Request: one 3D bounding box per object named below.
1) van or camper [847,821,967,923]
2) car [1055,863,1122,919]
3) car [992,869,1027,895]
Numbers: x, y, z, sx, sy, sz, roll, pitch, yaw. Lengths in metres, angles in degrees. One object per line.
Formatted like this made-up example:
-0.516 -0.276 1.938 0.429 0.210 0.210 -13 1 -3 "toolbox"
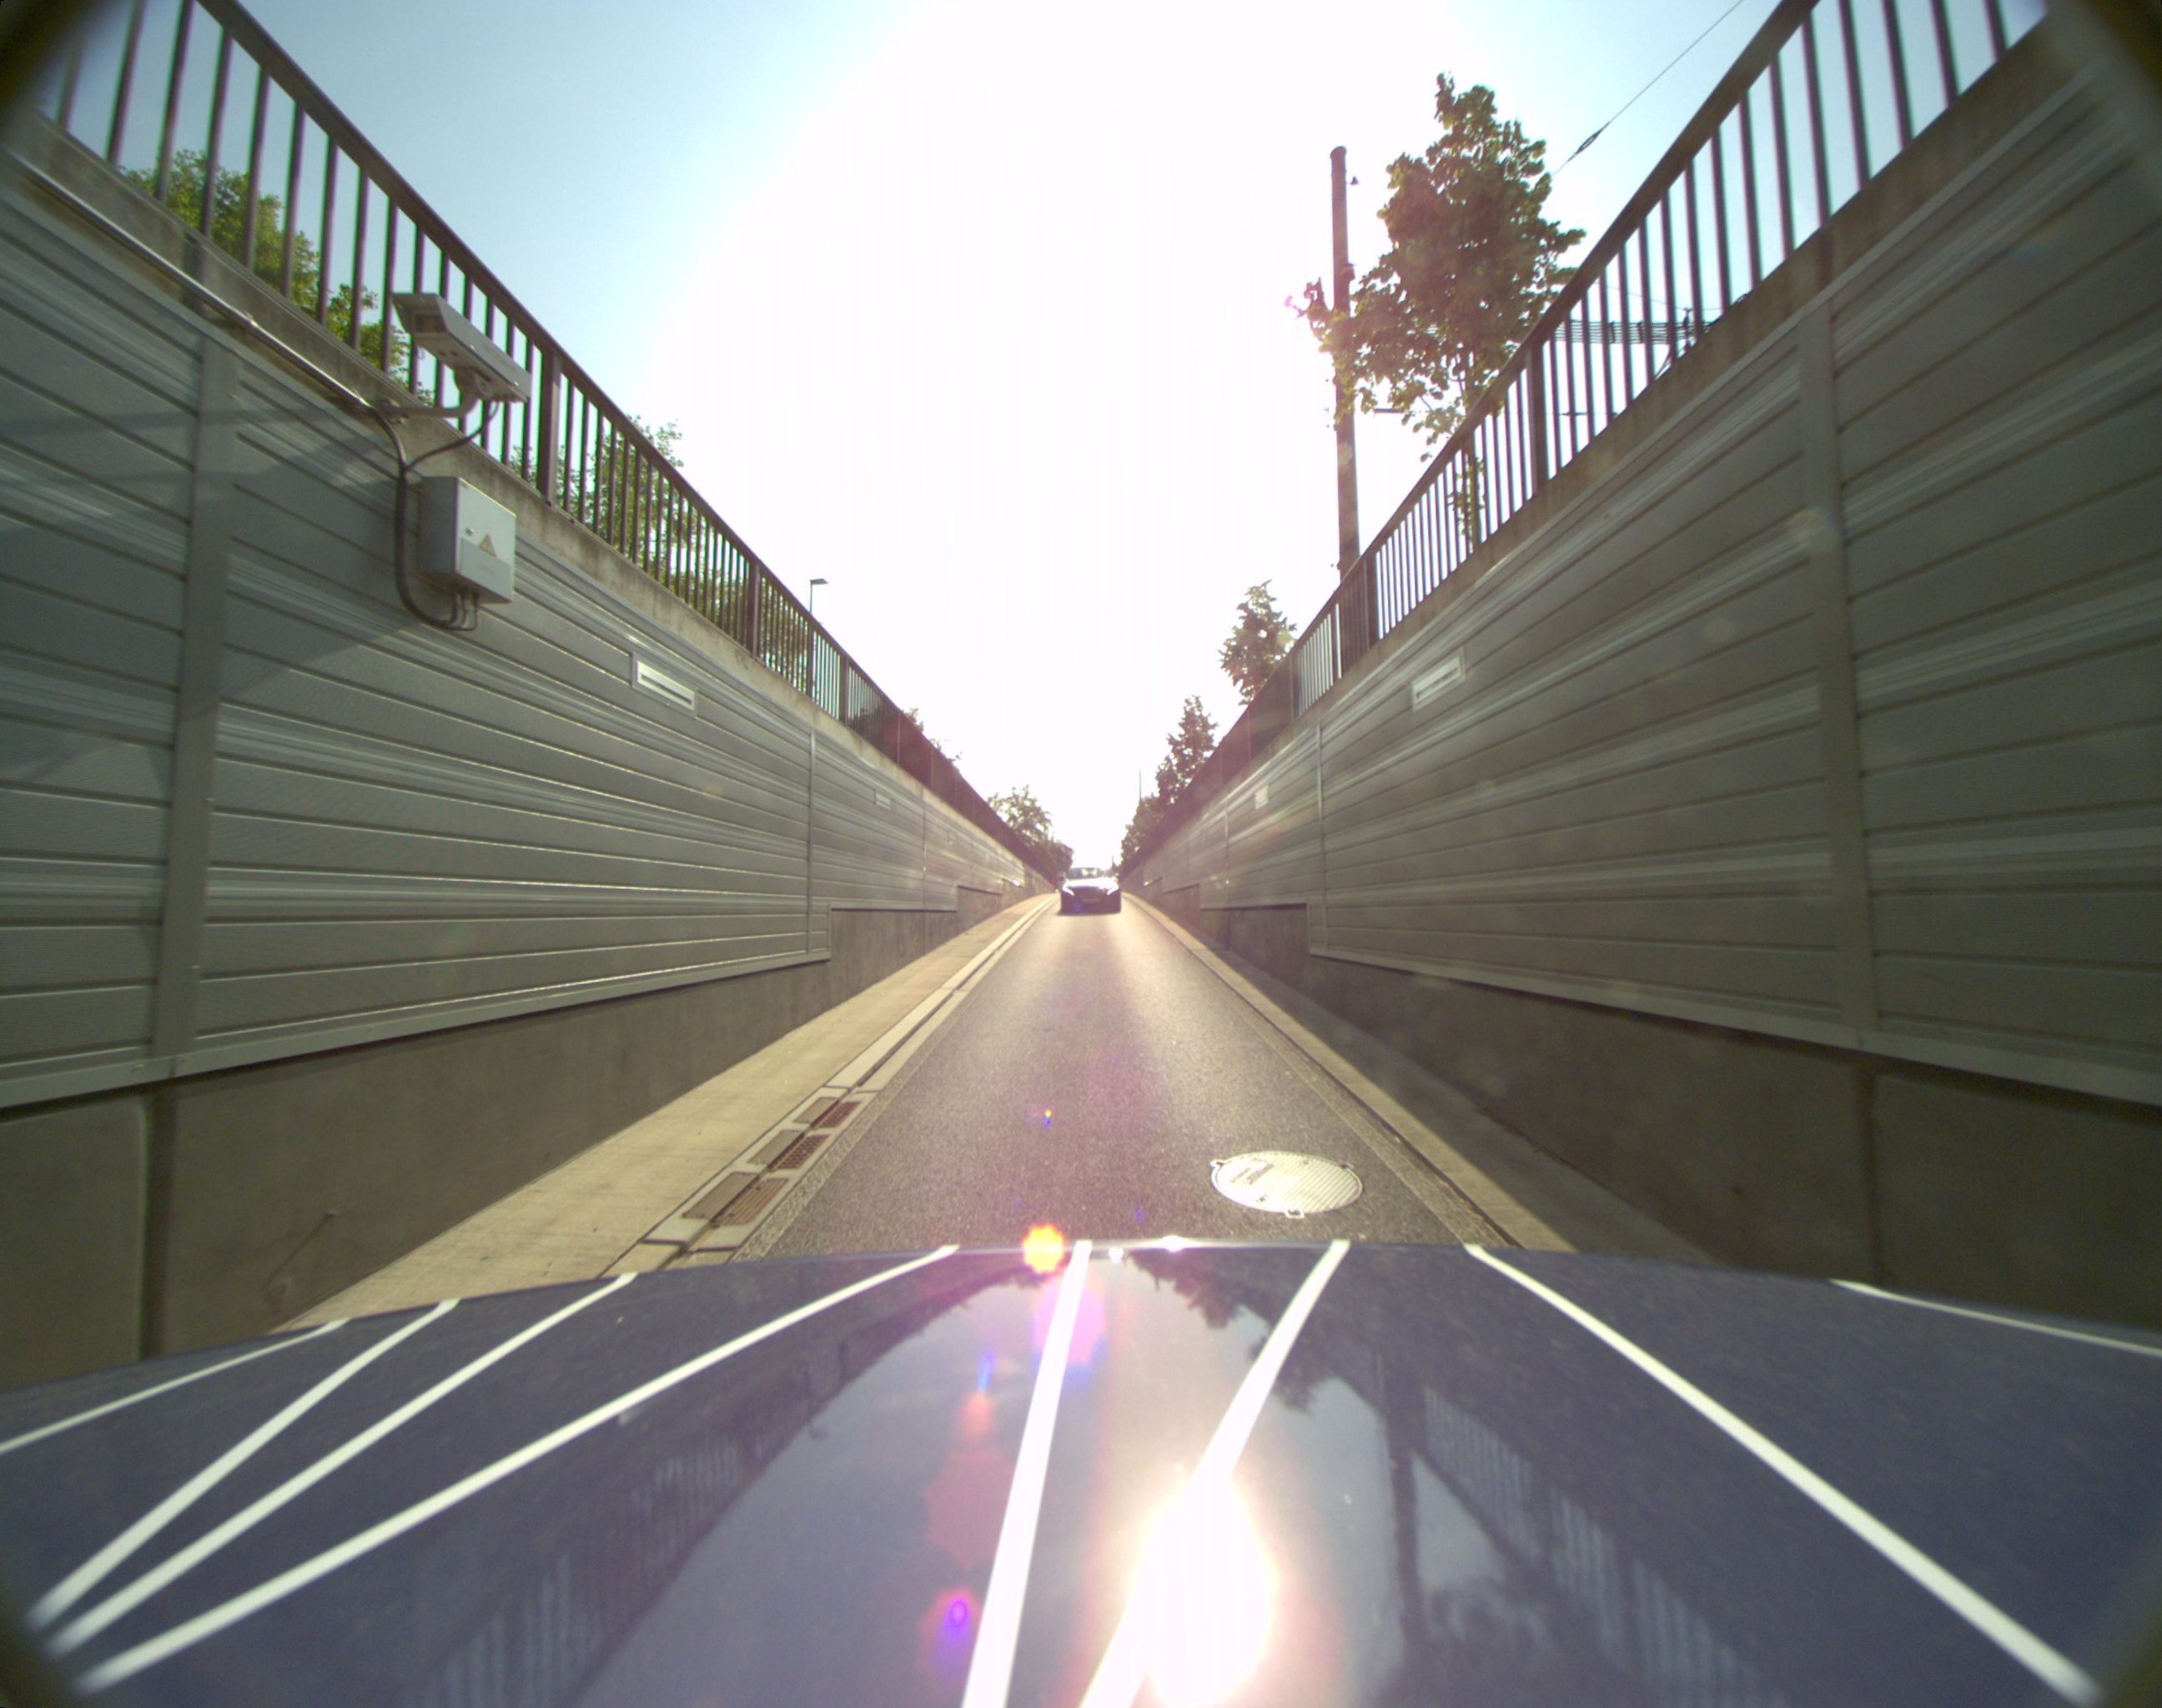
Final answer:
-4.819 0.633 22.032 1.991 2.456 6.065 -3 -3 0 "van or camper"
0.308 1.030 22.888 1.759 1.437 4.619 -3 -1 2 "car"
-4.968 2.002 53.297 1.897 1.560 4.253 -2 -4 1 "car"
